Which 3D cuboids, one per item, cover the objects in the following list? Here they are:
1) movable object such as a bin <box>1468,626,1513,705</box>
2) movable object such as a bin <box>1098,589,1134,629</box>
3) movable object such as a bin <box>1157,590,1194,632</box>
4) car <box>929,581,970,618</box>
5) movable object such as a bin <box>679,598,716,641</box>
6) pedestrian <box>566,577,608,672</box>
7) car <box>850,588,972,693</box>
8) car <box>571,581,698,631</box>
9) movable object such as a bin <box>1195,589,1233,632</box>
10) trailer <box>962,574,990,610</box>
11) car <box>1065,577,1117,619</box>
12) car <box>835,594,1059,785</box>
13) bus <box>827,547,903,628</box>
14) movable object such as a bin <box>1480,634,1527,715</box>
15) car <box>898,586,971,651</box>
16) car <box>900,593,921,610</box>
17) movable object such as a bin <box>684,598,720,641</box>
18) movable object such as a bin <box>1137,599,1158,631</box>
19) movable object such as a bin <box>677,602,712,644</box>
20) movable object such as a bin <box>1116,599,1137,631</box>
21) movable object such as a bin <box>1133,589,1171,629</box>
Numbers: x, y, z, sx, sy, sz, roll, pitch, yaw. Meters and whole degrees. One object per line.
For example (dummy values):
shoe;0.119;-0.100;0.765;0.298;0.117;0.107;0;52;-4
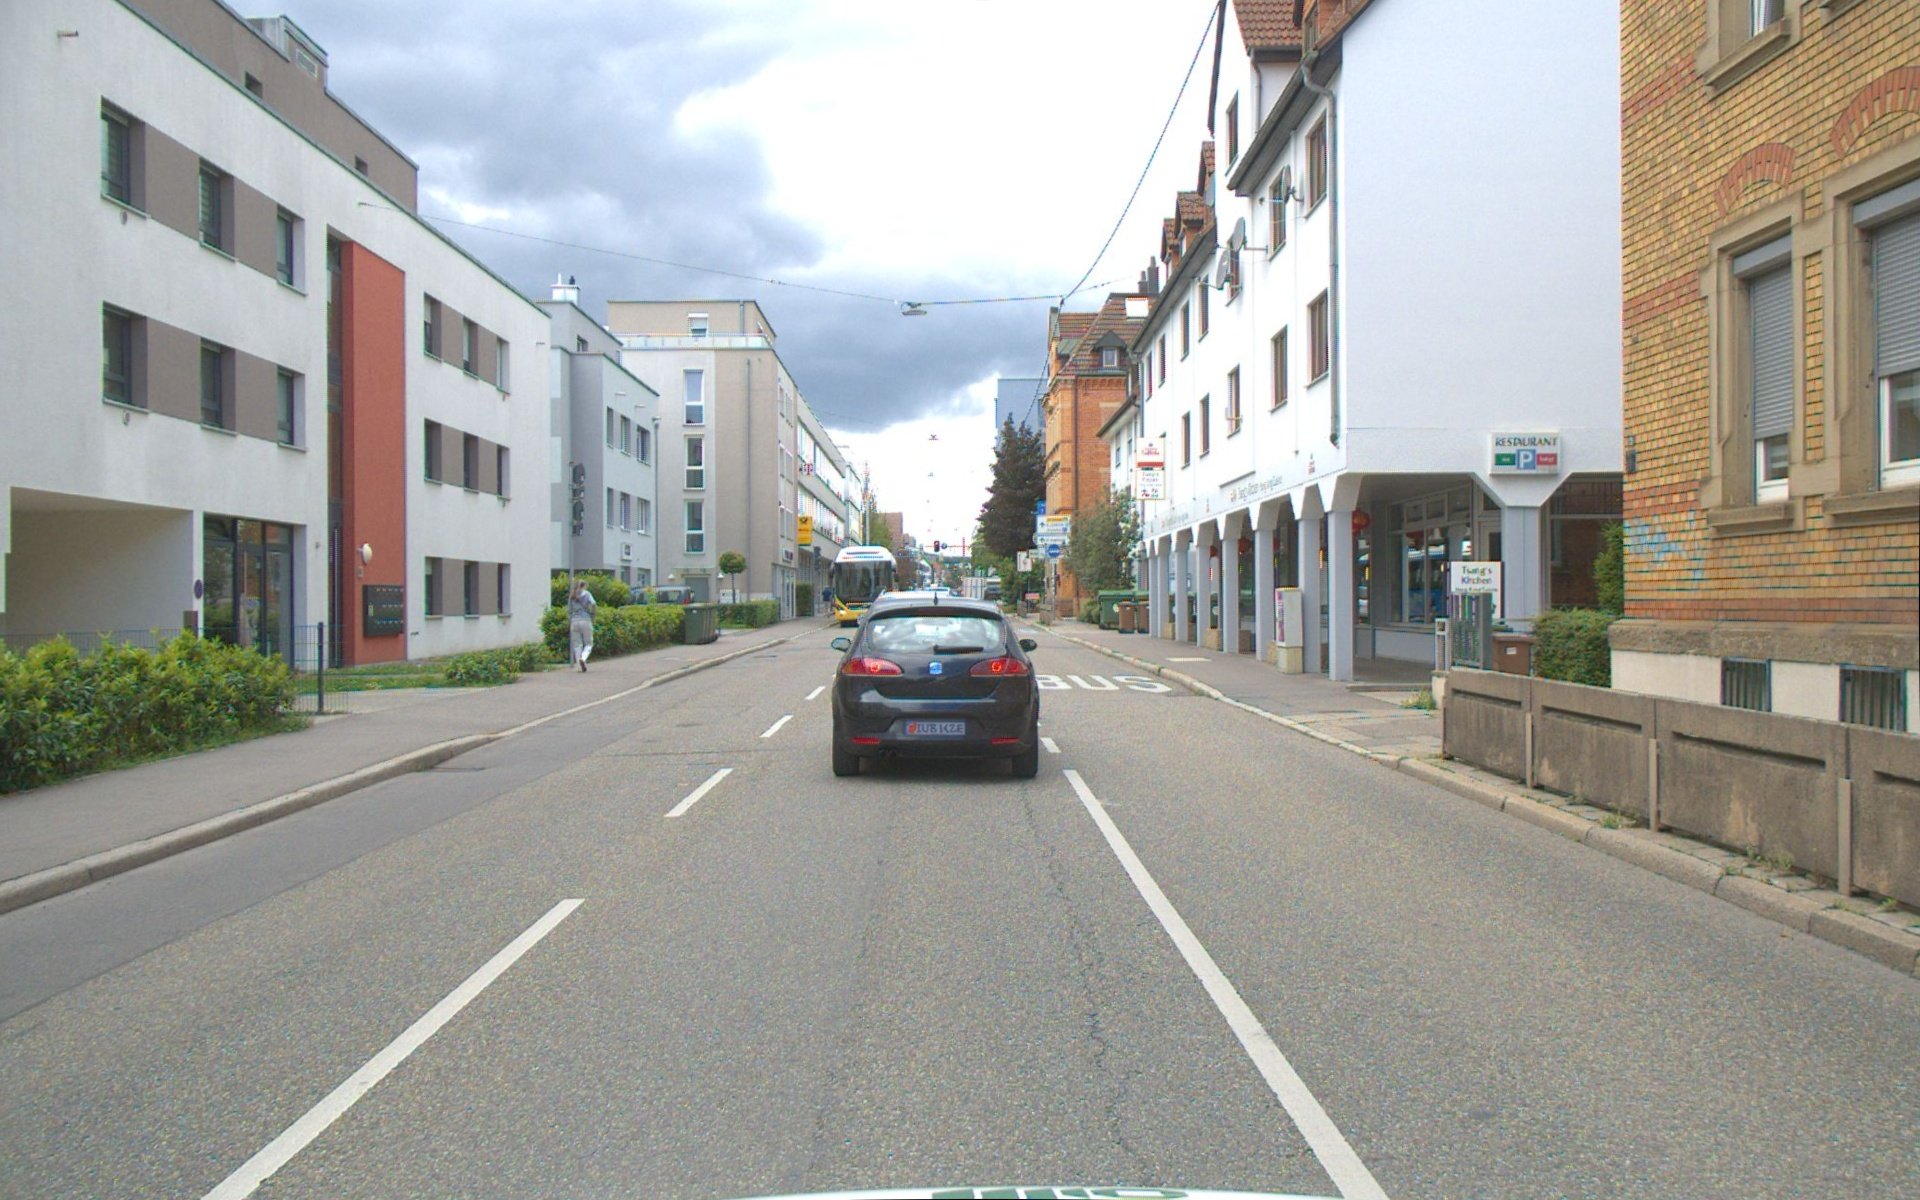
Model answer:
movable object such as a bin;6.359;0.778;19.833;0.389;0.919;0.456;0;0;-1
movable object such as a bin;5.791;0.330;61.535;1.241;1.442;1.162;0;0;0
movable object such as a bin;7.451;0.360;57.259;1.184;1.442;1.260;0;0;3
car;-0.482;-0.031;72.979;1.767;1.580;3.737;0;0;-1
movable object such as a bin;-7.247;0.529;45.709;0.937;1.171;0.839;0;0;-5
pedestrian;-6.602;0.430;29.288;0.625;1.671;0.520;0;0;-1
car;-0.747;0.581;25.883;1.767;1.519;3.737;0;0;-1
car;-11.445;0.213;58.222;4.076;1.697;1.725;0;0;3
movable object such as a bin;8.787;0.358;57.260;1.184;1.442;1.260;0;0;3
trailer;1.205;-0.593;125.683;1.953;2.653;5.348;0;0;-1
car;5.357;-0.086;67.948;1.767;1.629;3.737;1;0;-1
car;-0.118;0.682;14.704;1.729;1.458;3.828;0;0;-1
bus;-4.183;-0.587;75.164;2.883;3.331;12.006;-2;1;-1
movable object such as a bin;6.313;0.861;19.224;0.389;0.919;0.456;0;0;-1
car;-0.651;0.443;42.149;1.767;1.580;3.737;0;0;-1
car;-4.682;0.152;157.603;1.840;1.476;4.213;-3;0;-1
movable object such as a bin;-7.254;0.546;46.544;0.930;1.171;0.748;0;0;-5
movable object such as a bin;6.517;0.533;57.597;0.683;1.098;0.972;0;0;3
movable object such as a bin;-7.192;0.617;44.838;0.877;1.108;0.792;0;0;-5
movable object such as a bin;5.802;0.526;57.614;0.669;1.086;0.972;0;0;3
movable object such as a bin;7.119;0.314;61.316;1.241;1.460;1.307;0;0;0
